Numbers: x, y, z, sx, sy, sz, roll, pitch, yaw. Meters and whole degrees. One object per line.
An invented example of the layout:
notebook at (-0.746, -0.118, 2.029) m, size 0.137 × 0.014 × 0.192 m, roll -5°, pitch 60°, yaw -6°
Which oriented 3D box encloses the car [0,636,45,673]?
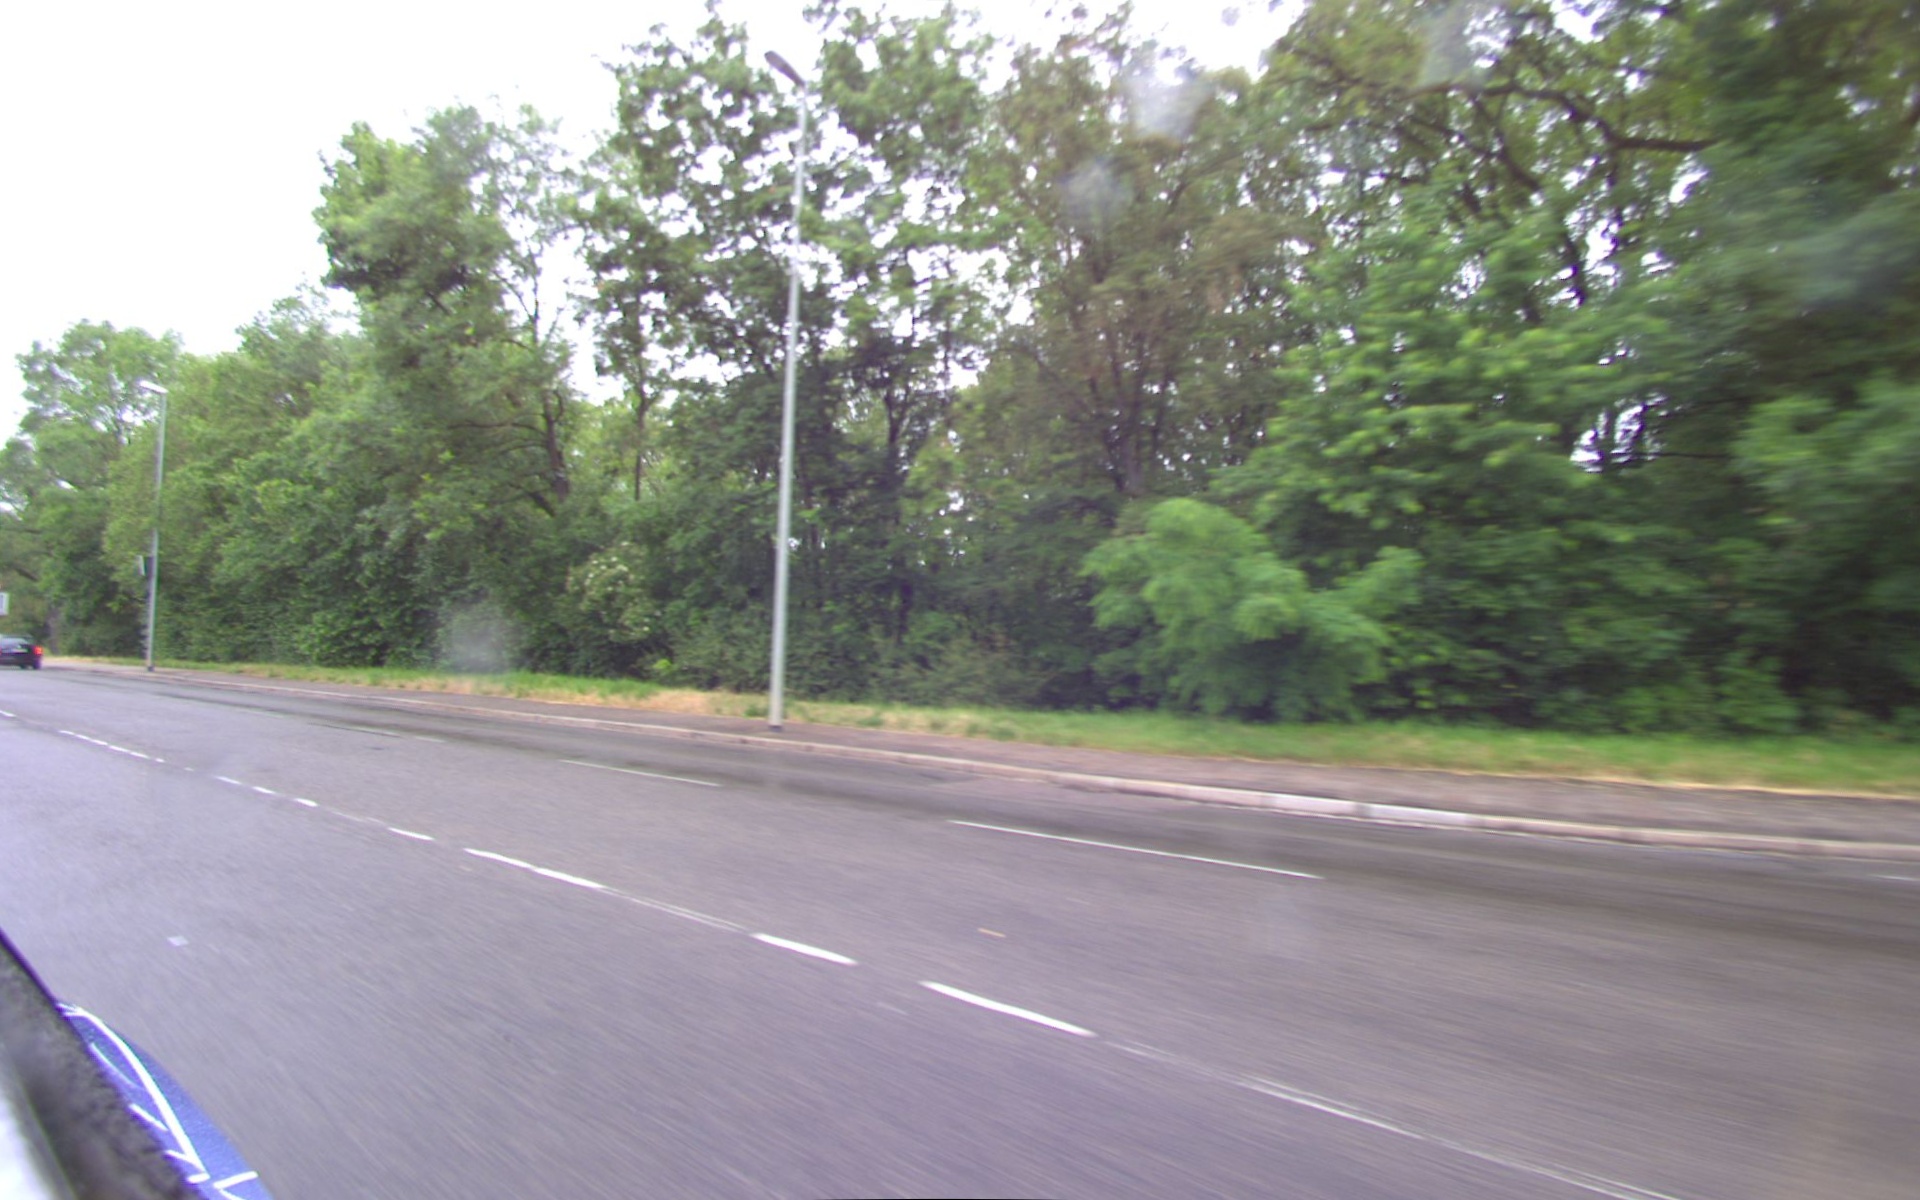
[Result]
car at (-39.916, 2.254, 42.243) m, size 4.382 × 1.443 × 1.727 m, roll -1°, pitch -5°, yaw 38°
